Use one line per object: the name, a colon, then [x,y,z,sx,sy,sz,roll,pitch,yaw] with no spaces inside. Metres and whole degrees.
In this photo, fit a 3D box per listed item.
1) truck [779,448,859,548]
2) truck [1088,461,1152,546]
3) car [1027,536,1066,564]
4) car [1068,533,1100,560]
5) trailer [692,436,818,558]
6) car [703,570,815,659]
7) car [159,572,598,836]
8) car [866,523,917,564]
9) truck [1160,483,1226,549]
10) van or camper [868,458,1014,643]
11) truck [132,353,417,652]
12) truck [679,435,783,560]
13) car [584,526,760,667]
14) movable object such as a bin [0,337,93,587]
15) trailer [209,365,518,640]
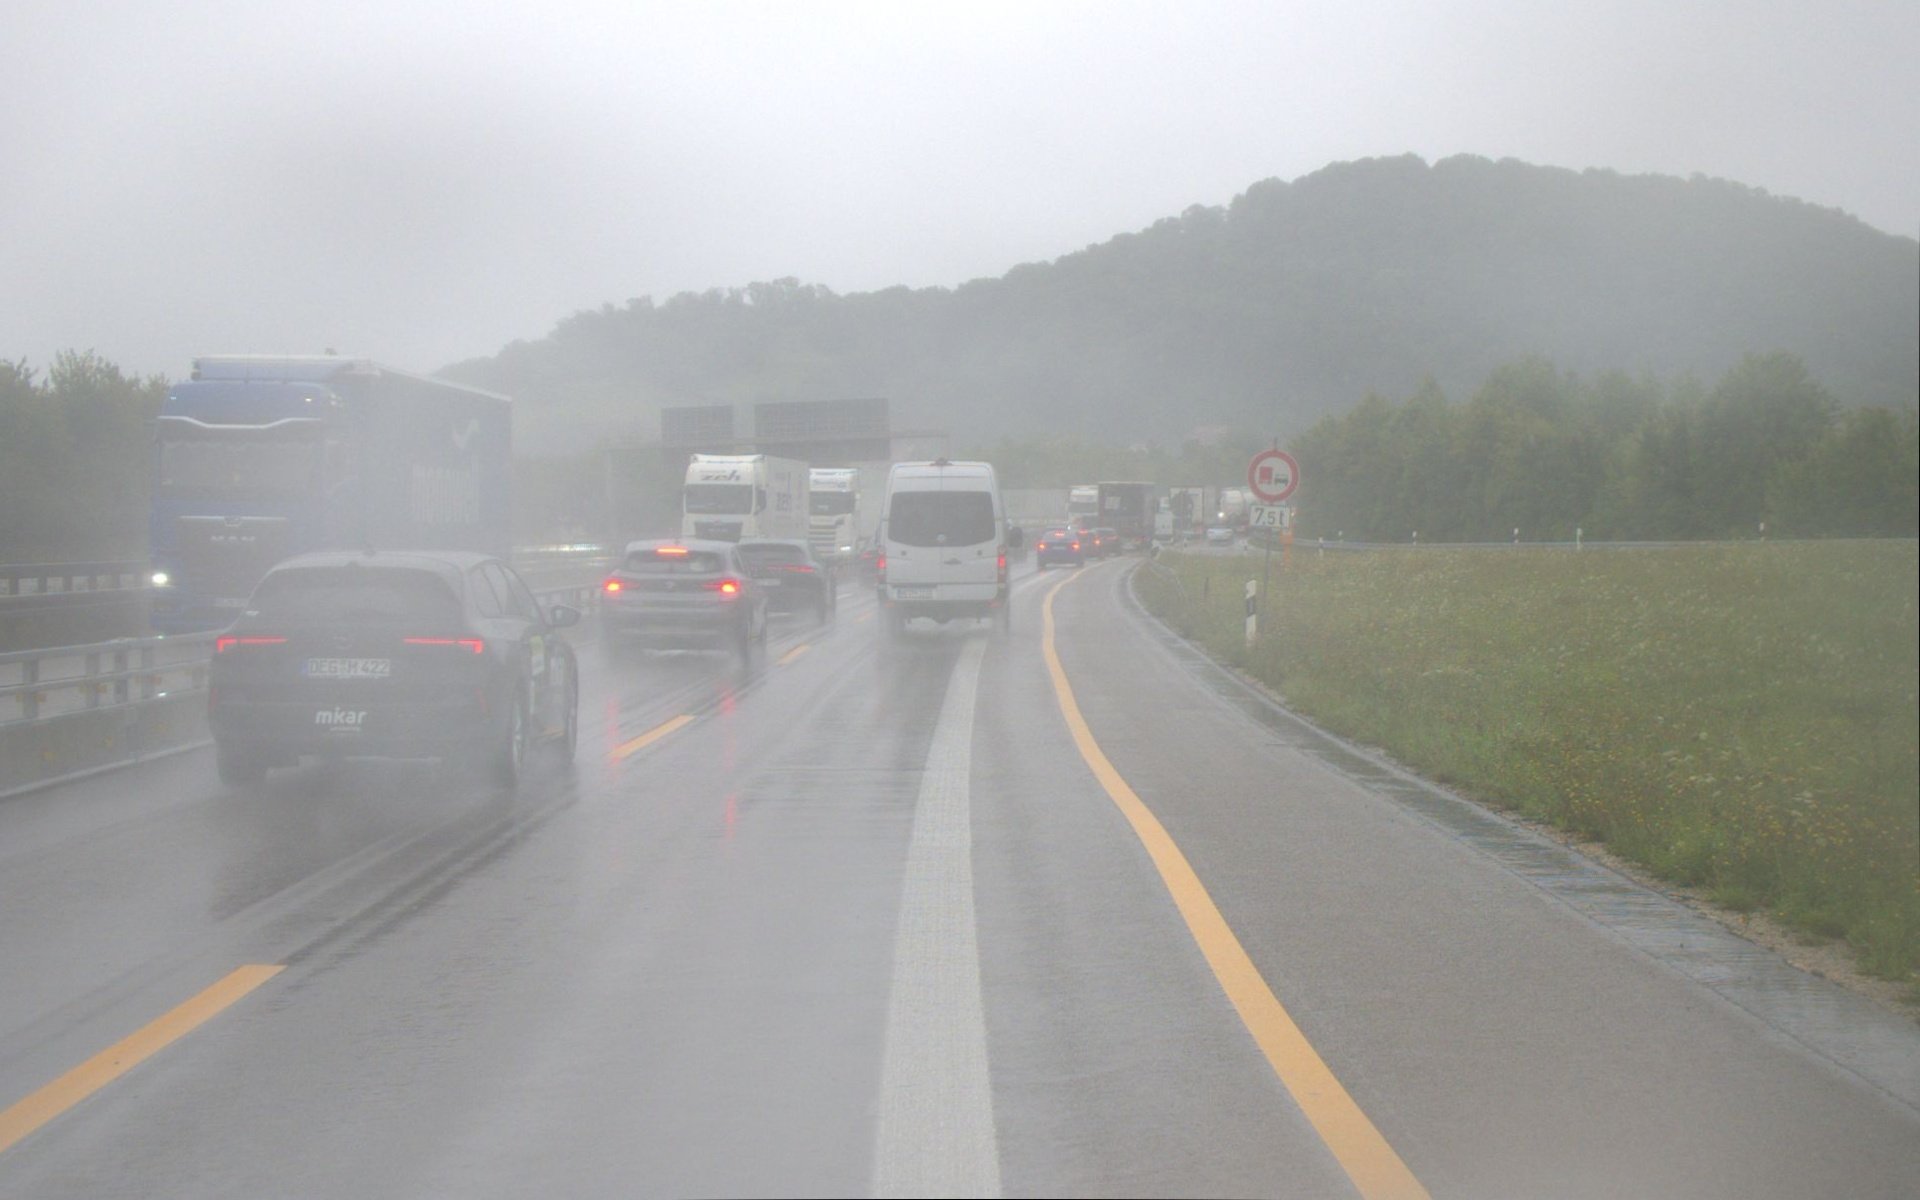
truck: [-5.917,-4.311,145.317,2.883,4.087,6.926,0,2,2]
truck: [9.365,-5.557,200.183,3.321,4.768,9.905,1,1,5]
car: [3.388,-1.981,135.297,1.384,1.074,3.123,0,1,-2]
car: [5.752,-2.494,159.724,1.384,1.252,3.122,0,1,1]
trailer: [-7.087,-3.621,120.597,2.494,4.035,12.586,-1,2,5]
car: [-3.511,0.229,60.580,1.852,1.495,4.000,0,1,-2]
car: [-3.531,0.565,21.767,1.939,1.422,4.760,1,1,0]
car: [-1.804,-1.499,91.524,1.262,1.074,3.254,0,1,1]
truck: [17.608,-6.297,259.334,3.930,4.768,9.903,1,1,9]
van or camper: [-0.342,-0.770,52.856,2.139,2.712,4.649,0,1,-2]
truck: [-9.898,-1.414,50.311,2.624,4.067,6.669,0,1,2]
truck: [-7.582,-3.419,114.627,2.484,4.017,6.448,1,2,5]
car: [-3.500,-0.081,42.412,1.867,1.653,3.988,0,1,0]
movable object such as a bin: [-24.703,-3.317,82.956,4.171,5.894,11.044,1,1,3]
trailer: [-9.643,-1.533,57.167,2.600,4.063,12.432,0,1,2]
